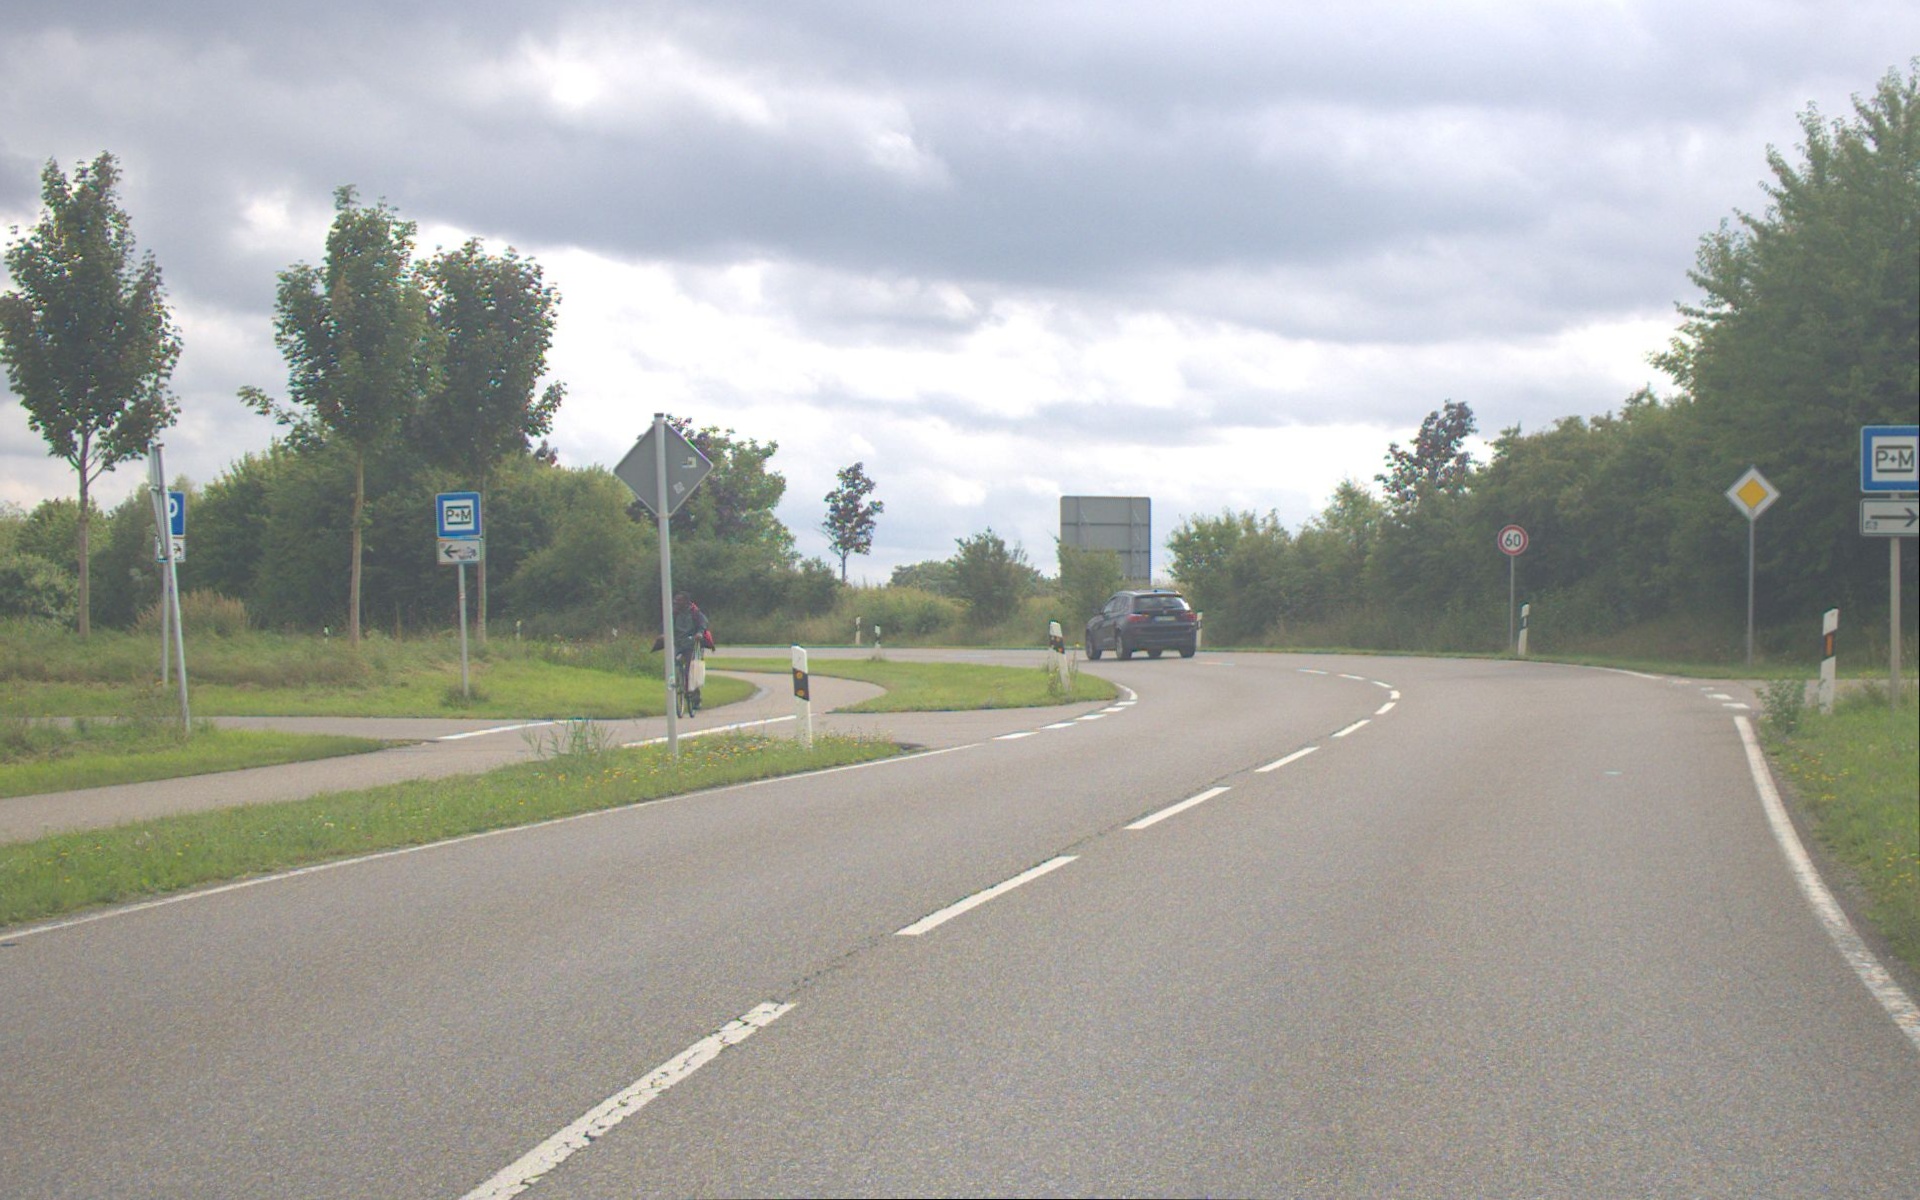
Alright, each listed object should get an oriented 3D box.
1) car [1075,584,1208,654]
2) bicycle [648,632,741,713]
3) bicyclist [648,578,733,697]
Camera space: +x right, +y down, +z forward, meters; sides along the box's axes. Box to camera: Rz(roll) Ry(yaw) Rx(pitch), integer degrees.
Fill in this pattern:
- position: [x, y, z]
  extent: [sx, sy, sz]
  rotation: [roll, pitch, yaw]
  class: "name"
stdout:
- position: [4.418, 0.438, 84.230]
  extent: [1.906, 1.661, 4.001]
  rotation: [0, 0, -19]
  class: "car"
- position: [-3.547, 0.954, 46.072]
  extent: [0.636, 1.028, 2.189]
  rotation: [-1, 0, 12]
  class: "bicycle"
- position: [-3.590, 0.492, 45.895]
  extent: [0.831, 1.560, 1.055]
  rotation: [0, 0, 14]
  class: "bicyclist"
